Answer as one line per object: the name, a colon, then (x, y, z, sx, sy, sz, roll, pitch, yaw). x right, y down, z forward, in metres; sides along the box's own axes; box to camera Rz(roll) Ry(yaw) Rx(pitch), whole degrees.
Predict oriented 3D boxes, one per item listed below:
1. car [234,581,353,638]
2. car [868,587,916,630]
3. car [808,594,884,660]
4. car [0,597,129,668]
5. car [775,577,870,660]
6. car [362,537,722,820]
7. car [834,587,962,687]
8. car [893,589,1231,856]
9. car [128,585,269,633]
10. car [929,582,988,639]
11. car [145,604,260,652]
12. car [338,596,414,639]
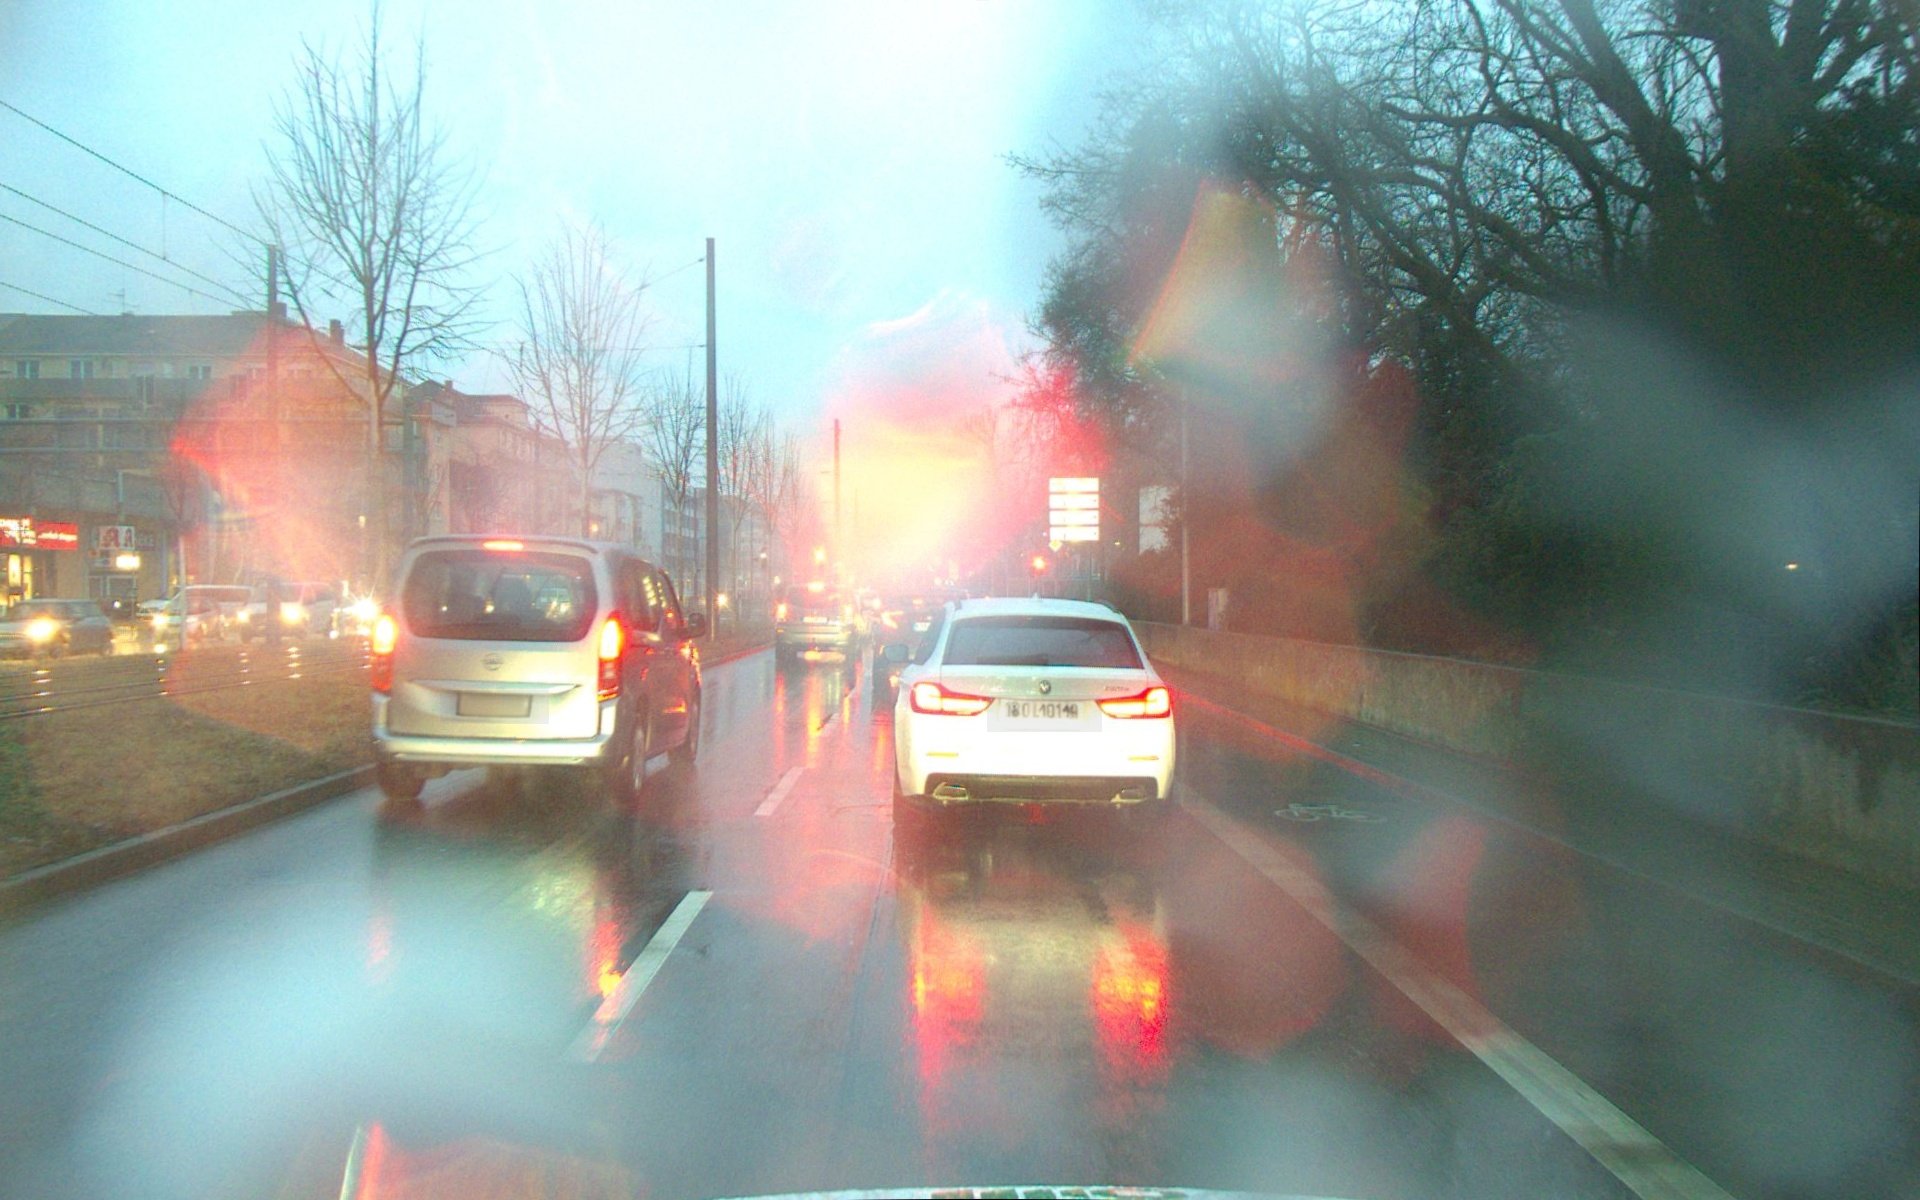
car: (-21.495, 0.262, 53.538, 1.857, 1.749, 5.117, 0, 0, -1)
car: (-2.717, 0.314, 66.761, 1.770, 1.674, 3.999, 1, 0, -1)
car: (-3.231, 0.738, 47.495, 1.953, 1.785, 3.999, 1, 0, -1)
car: (-20.198, 0.687, 36.551, 1.857, 1.456, 3.706, 0, 0, -2)
car: (-2.933, 0.371, 35.987, 1.770, 1.674, 3.999, 1, 0, -1)
car: (-2.976, 0.500, 12.779, 1.757, 1.766, 4.535, 1, 0, -2)
car: (-0.959, 0.541, 26.789, 1.896, 1.483, 4.163, 1, 0, -1)
car: (0.570, 0.700, 11.726, 1.958, 1.534, 4.163, 1, 0, -1)
car: (-32.561, 0.369, 70.845, 1.966, 1.945, 5.129, 0, 0, 44)
car: (-0.076, 0.297, 51.979, 1.770, 1.674, 3.999, 1, 0, -1)
car: (-26.309, 0.927, 57.617, 1.857, 1.542, 4.791, 0, 0, -1)
car: (-26.277, 0.774, 74.529, 1.857, 1.844, 4.529, 0, 0, -1)
